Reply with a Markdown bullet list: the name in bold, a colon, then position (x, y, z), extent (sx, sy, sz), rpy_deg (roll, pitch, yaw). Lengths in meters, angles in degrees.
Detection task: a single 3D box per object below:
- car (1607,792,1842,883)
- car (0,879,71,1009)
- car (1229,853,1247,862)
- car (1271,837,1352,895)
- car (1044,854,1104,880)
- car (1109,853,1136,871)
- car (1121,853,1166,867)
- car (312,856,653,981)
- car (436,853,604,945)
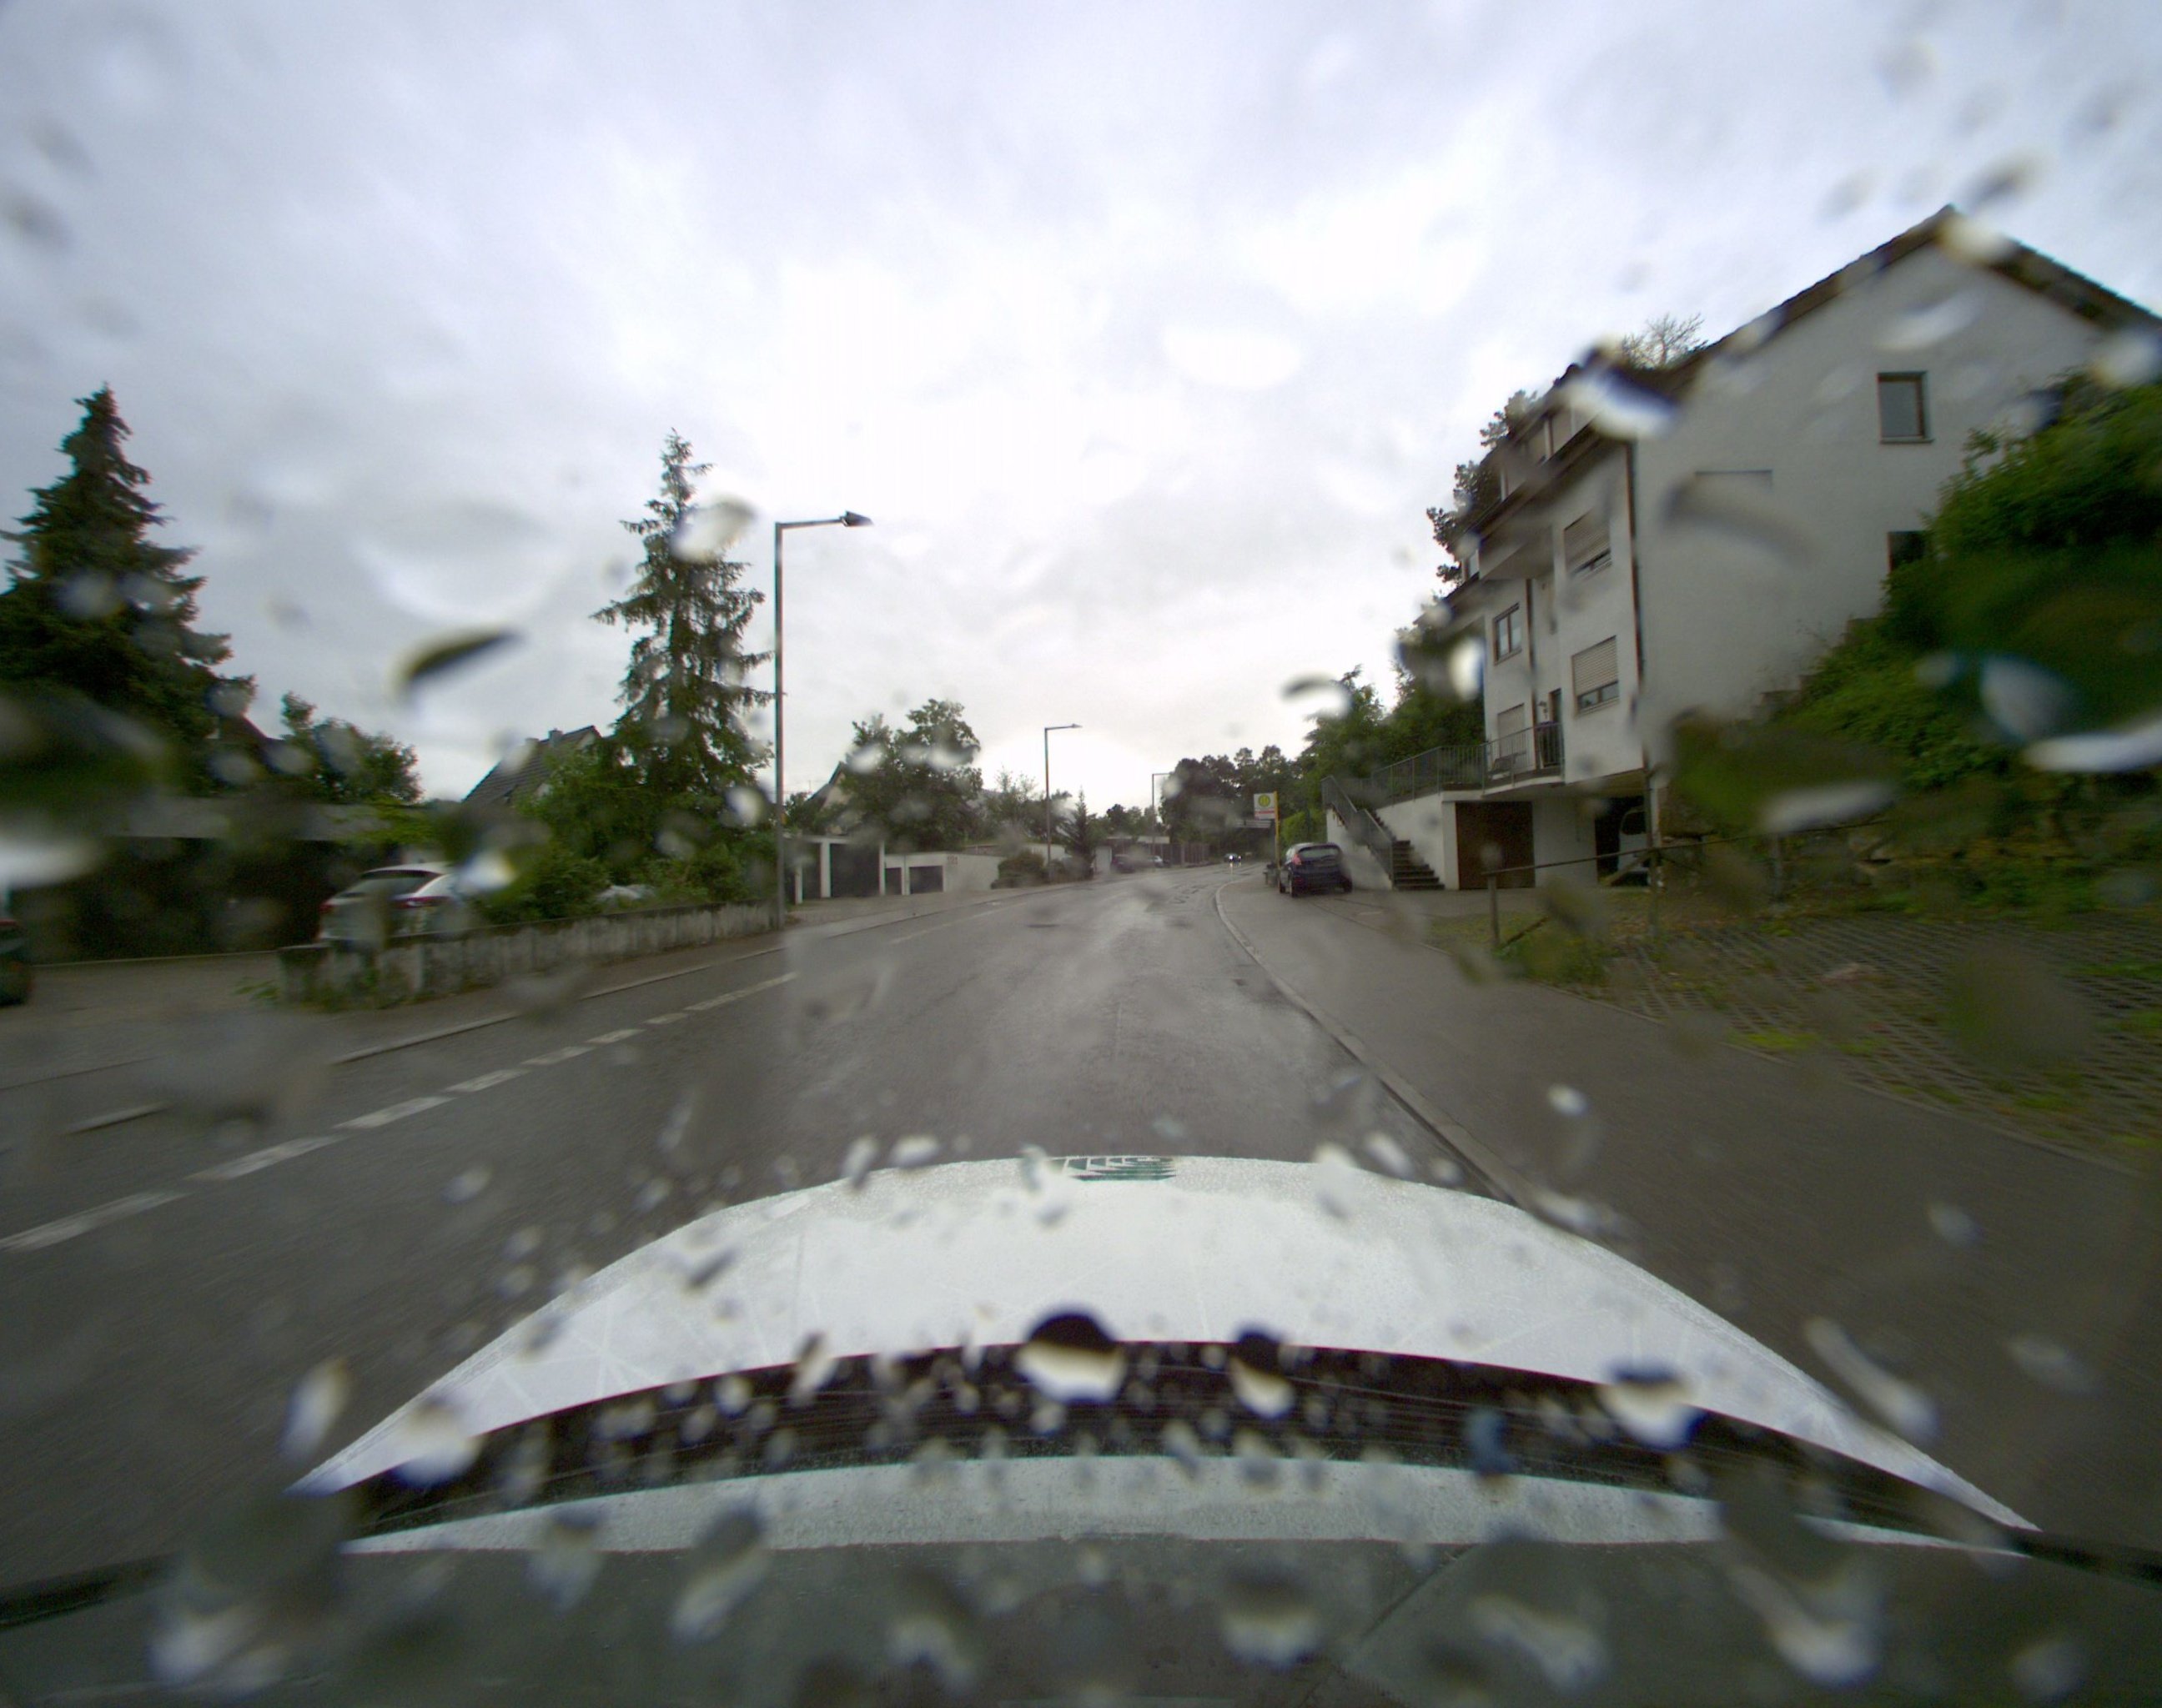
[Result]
- **car**: position (14.916, -0.358, 19.045), extent (3.974, 1.954, 1.928), rpy_deg (-1, 0, 0)
- **car**: position (-13.961, 1.052, 9.780), extent (3.948, 1.437, 1.954), rpy_deg (-1, -1, 34)
- **car**: position (25.572, 0.580, 132.692), extent (1.848, 1.469, 3.691), rpy_deg (-1, 0, -6)
- **car**: position (6.654, 0.328, 23.877), extent (1.695, 1.454, 4.030), rpy_deg (-5, -1, 9)
- **car**: position (-0.384, 0.801, 51.718), extent (1.688, 1.553, 4.416), rpy_deg (-1, 0, 31)
- **car**: position (3.356, 0.630, 65.155), extent (1.823, 1.405, 4.269), rpy_deg (-1, 0, 8)
- **car**: position (6.713, 0.665, 87.060), extent (4.537, 1.442, 1.748), rpy_deg (0, -1, -23)
- **car**: position (-8.613, 0.830, 12.234), extent (1.724, 1.551, 4.011), rpy_deg (-2, -1, 10)
- **car**: position (-12.787, 0.970, 18.506), extent (3.948, 1.838, 2.013), rpy_deg (-2, -1, 38)
